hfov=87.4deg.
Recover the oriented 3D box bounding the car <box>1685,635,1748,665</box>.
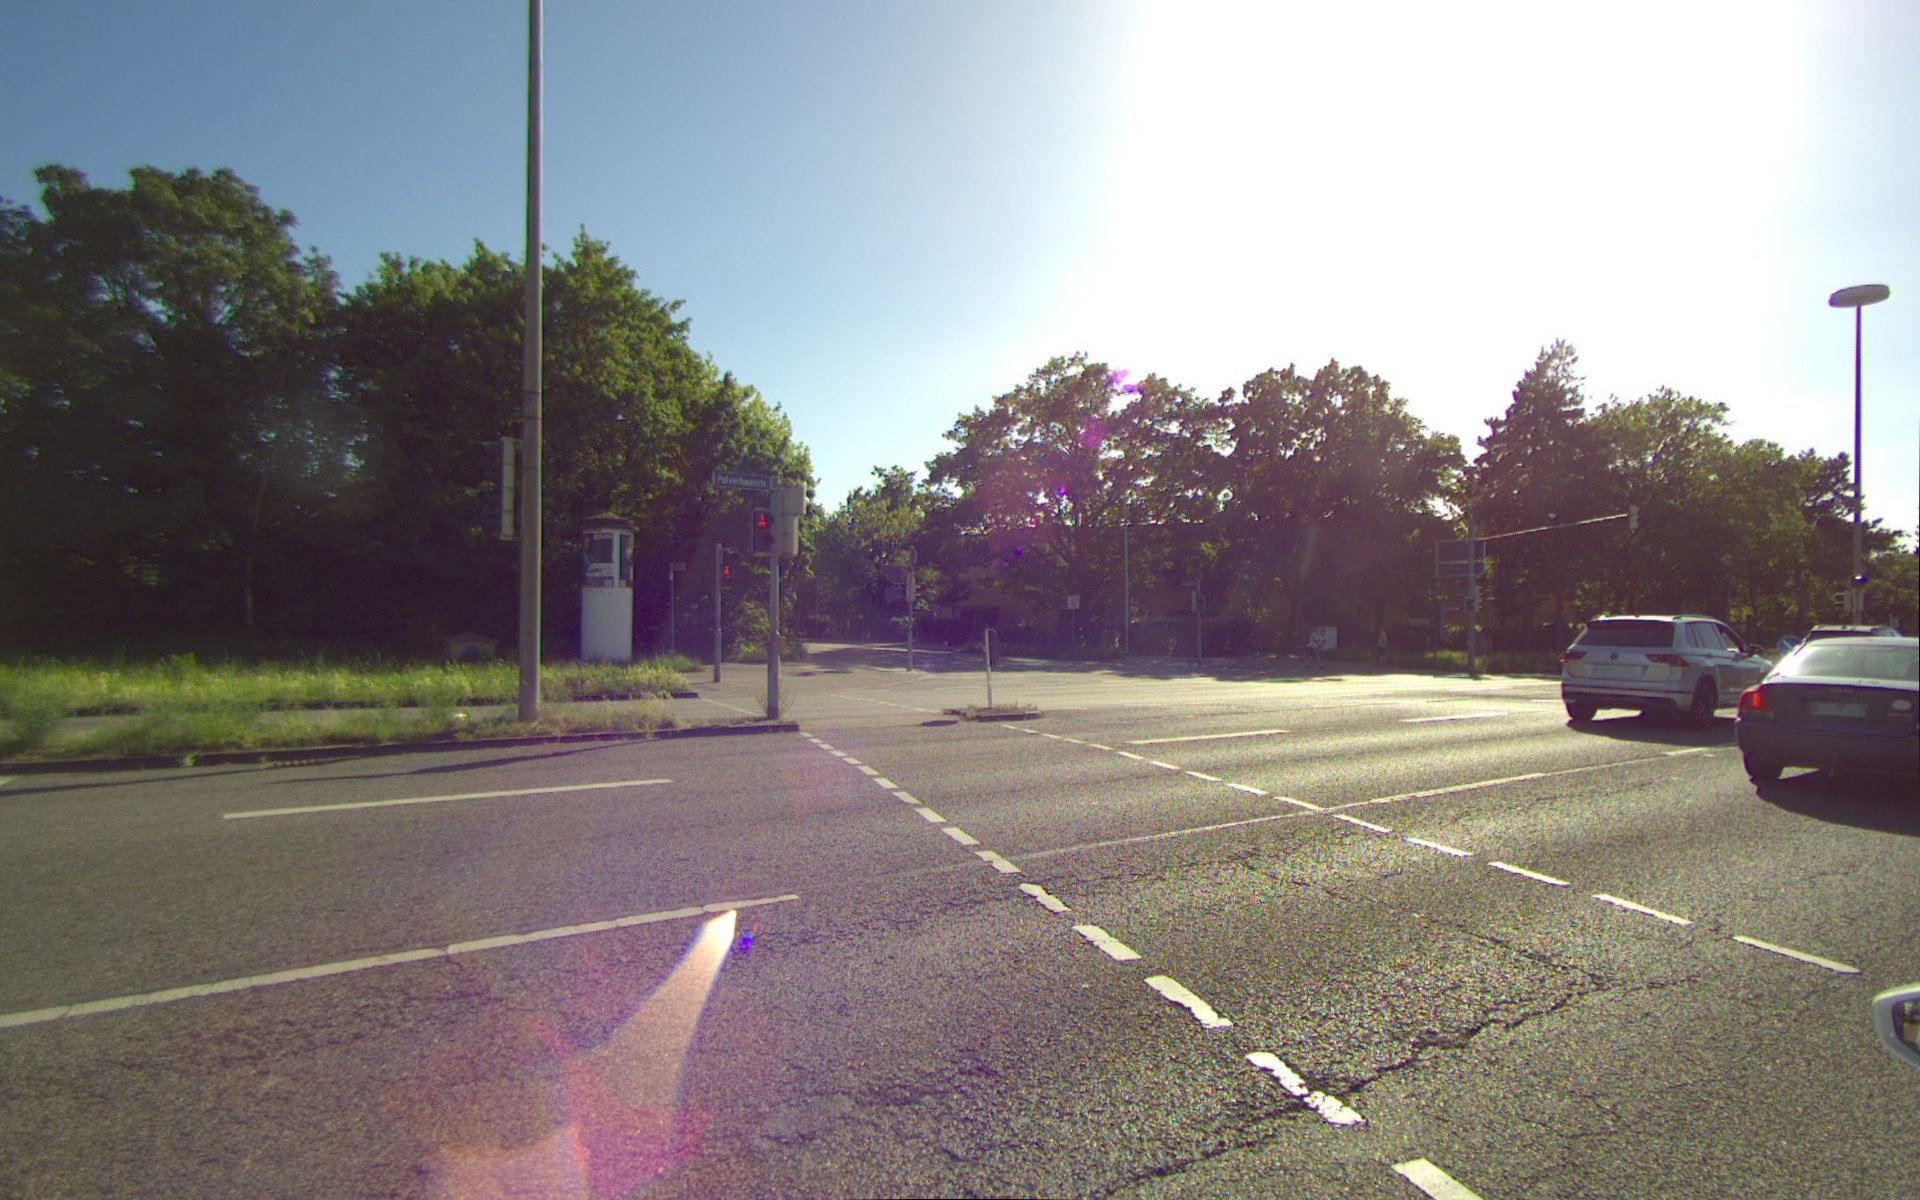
[{"bbox_3d":[38.739,2.579,51.427,3.562,1.451,1.538,2,-2,-35],"label":"car"}]

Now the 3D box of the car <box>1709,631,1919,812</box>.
[{"bbox_3d":[9.304,1.085,9.961,4.324,1.413,1.823,2,0,-37],"label":"car"}]

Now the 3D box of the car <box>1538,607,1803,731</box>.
[{"bbox_3d":[11.347,1.045,15.980,4.317,1.675,1.932,2,0,-33],"label":"car"}]

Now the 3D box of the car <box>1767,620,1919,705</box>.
[{"bbox_3d":[20.081,1.358,22.593,4.322,1.675,1.897,2,0,-36],"label":"car"}]
